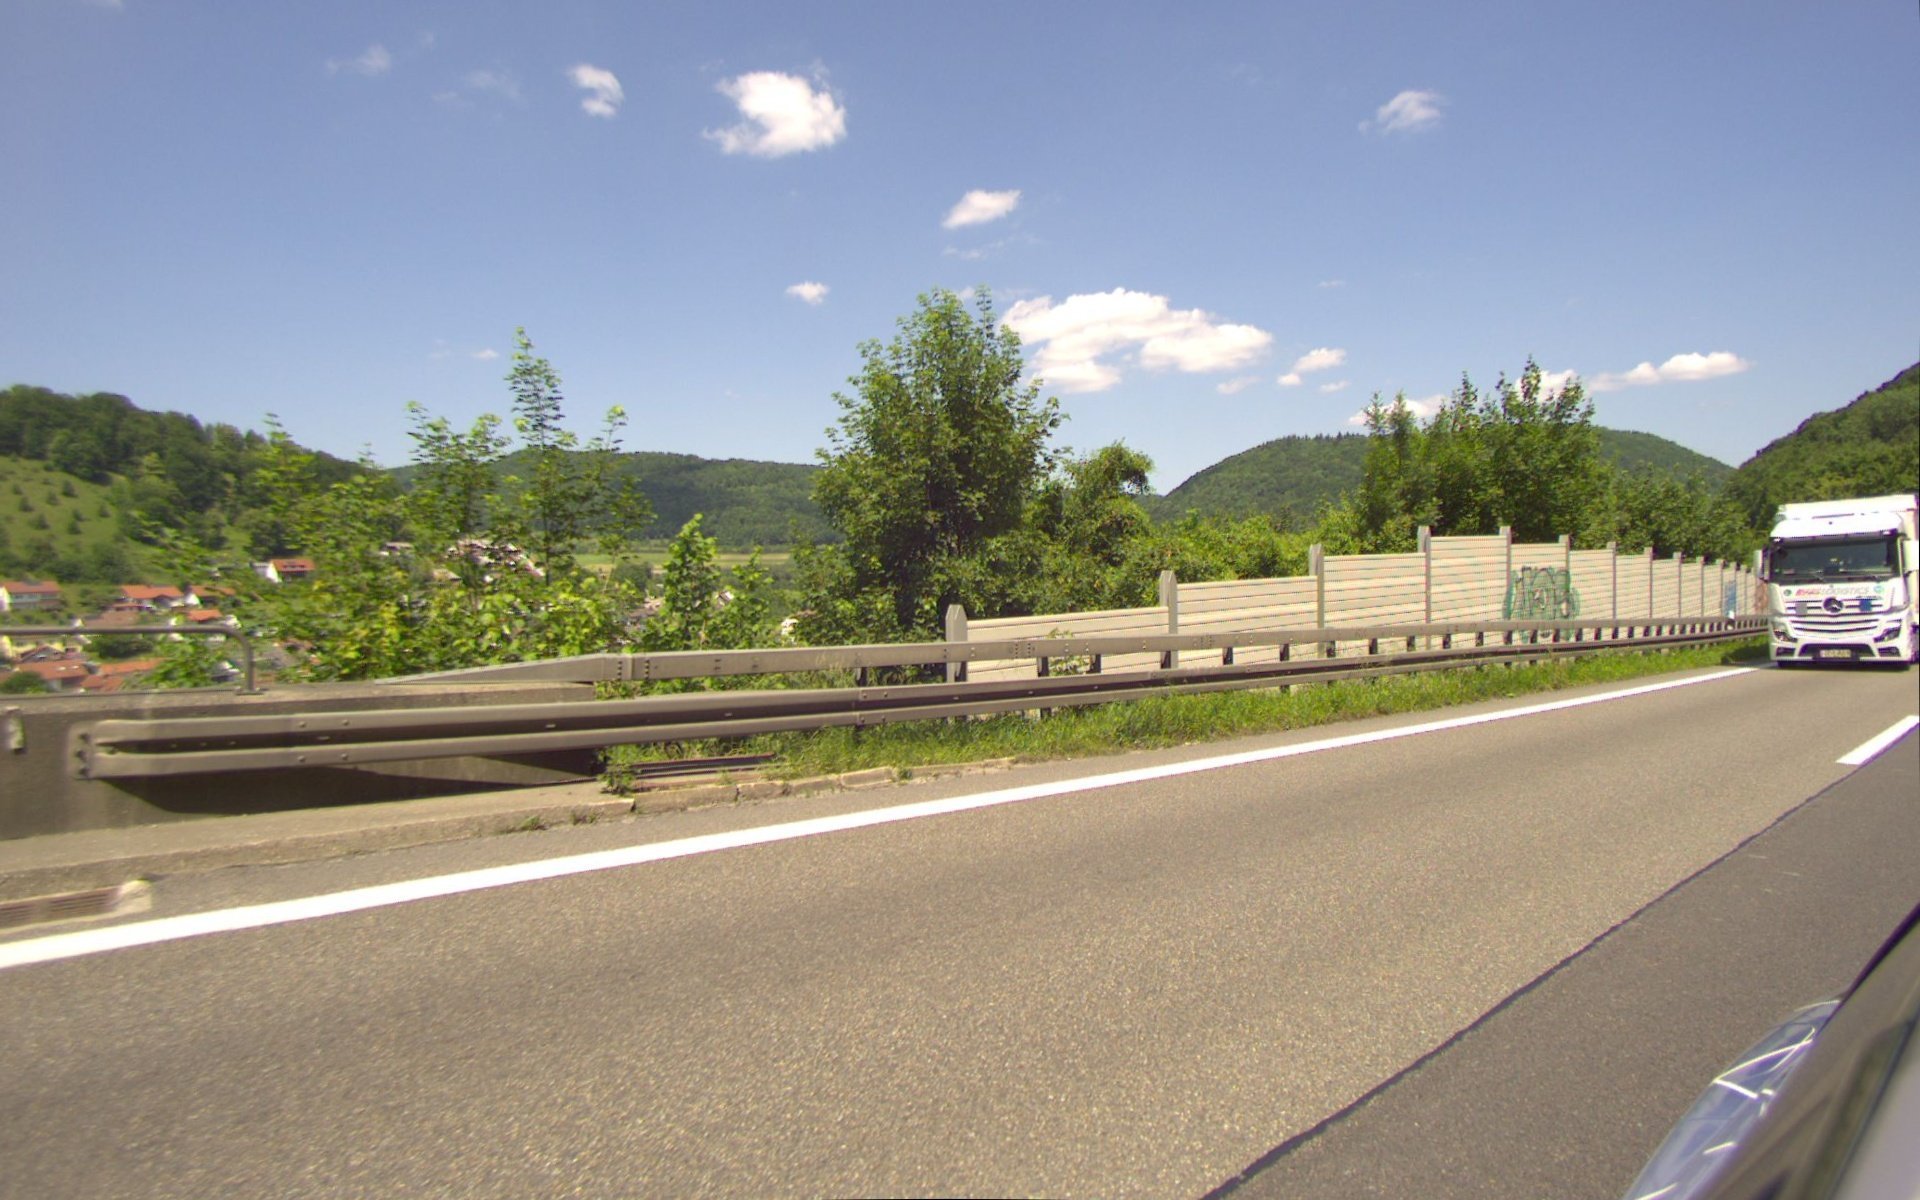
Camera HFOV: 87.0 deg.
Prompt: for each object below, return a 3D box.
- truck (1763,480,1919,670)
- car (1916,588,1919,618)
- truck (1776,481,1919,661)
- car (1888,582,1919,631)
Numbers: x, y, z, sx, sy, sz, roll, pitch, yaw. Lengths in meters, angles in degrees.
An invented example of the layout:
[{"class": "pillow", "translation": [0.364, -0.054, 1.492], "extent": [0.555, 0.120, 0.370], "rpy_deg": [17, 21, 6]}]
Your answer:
[{"class": "truck", "translation": [22.268, -0.563, 24.975], "extent": [6.709, 4.090, 2.760], "rpy_deg": [-1, -1, -43]}, {"class": "car", "translation": [66.449, 0.184, 68.690], "extent": [1.991, 2.039, 3.942], "rpy_deg": [1, 1, 40]}, {"class": "truck", "translation": [25.874, -0.701, 28.481], "extent": [11.845, 4.201, 2.856], "rpy_deg": [-1, -1, -43]}, {"class": "car", "translation": [41.697, 0.250, 43.786], "extent": [3.934, 2.039, 1.995], "rpy_deg": [-1, 0, -43]}]
